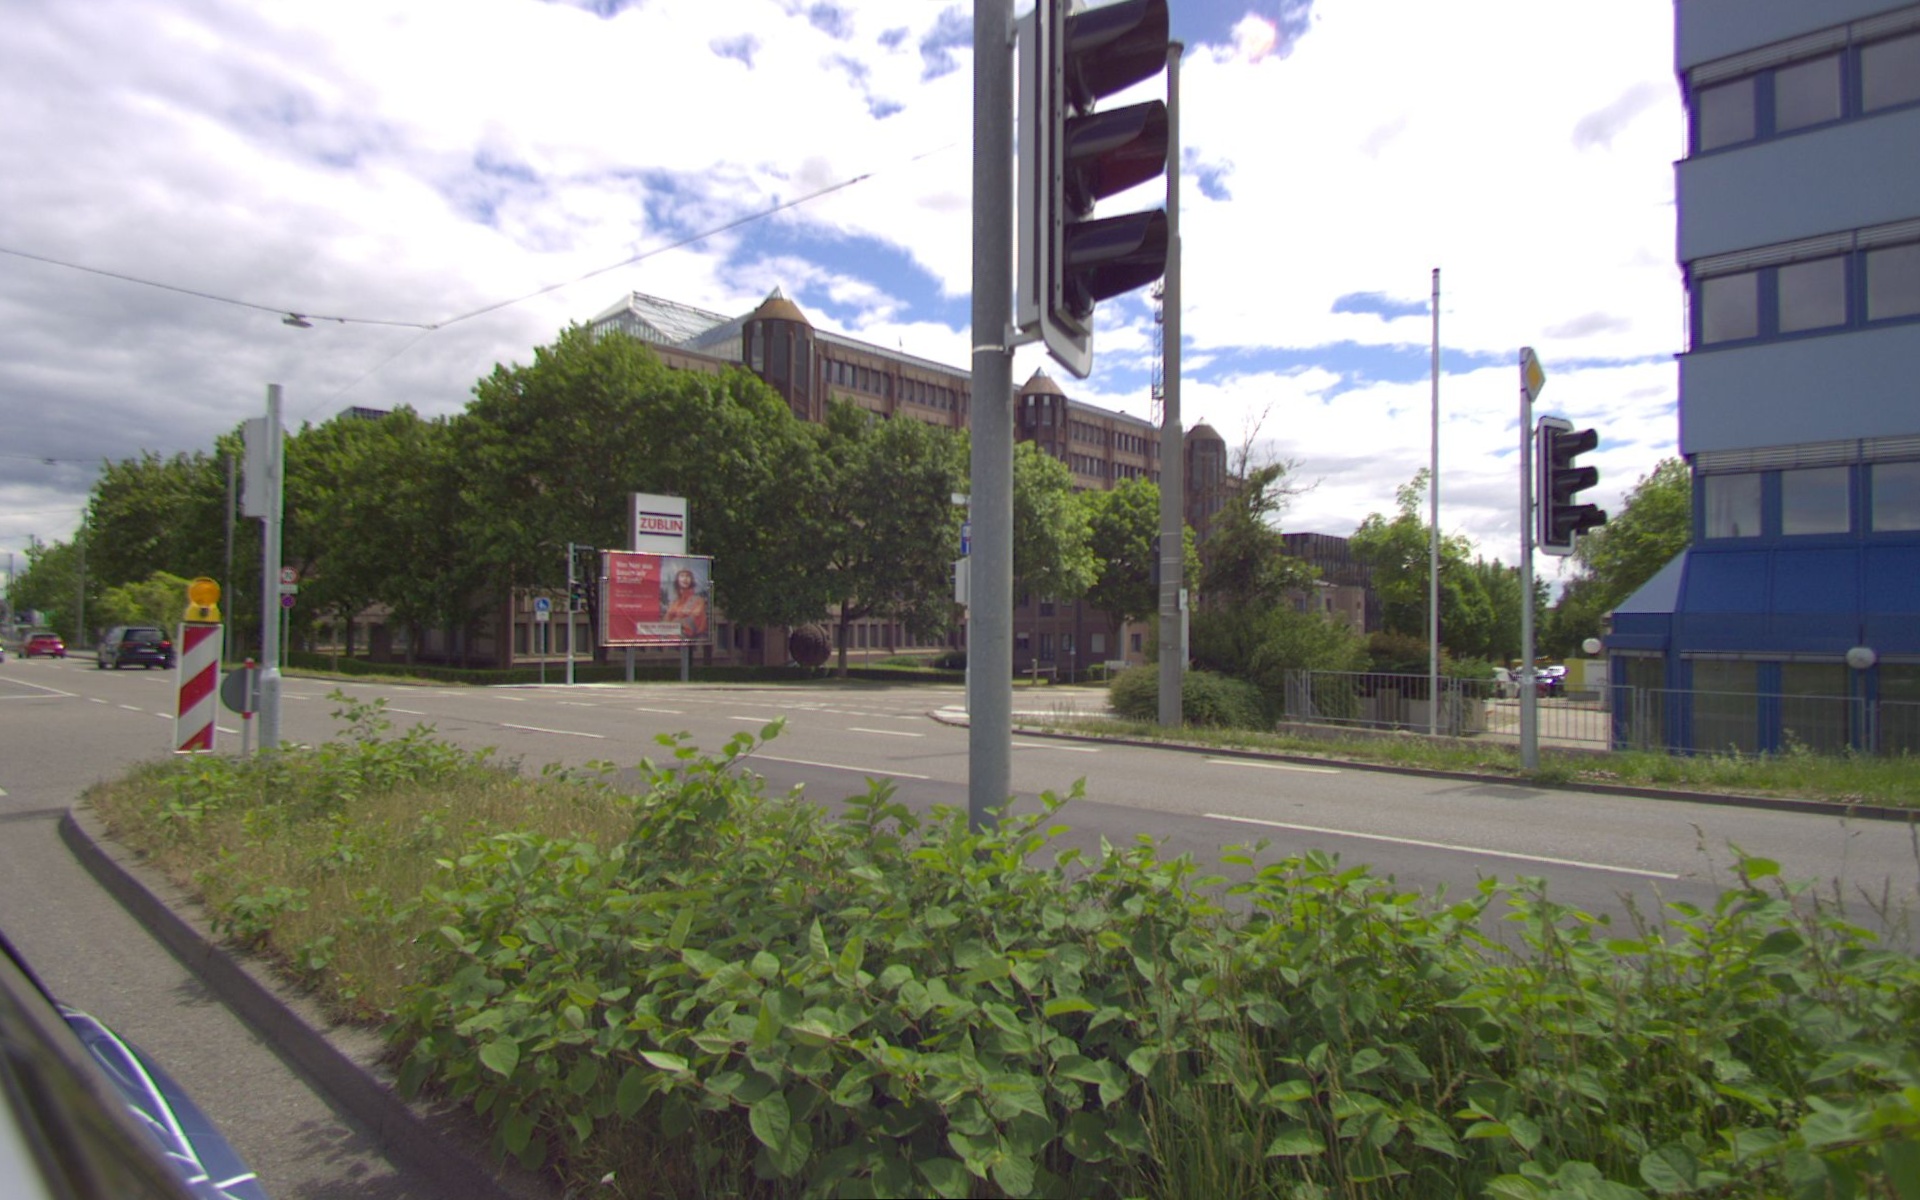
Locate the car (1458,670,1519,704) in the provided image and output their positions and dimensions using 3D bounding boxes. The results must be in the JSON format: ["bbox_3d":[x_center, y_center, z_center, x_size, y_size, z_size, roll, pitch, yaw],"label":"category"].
[{"bbox_3d":[28.356,4.694,54.293,2.000,1.706,3.602,-2,-6,43],"label":"car"}]

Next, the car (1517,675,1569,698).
[{"bbox_3d":[35.937,5.337,62.335,2.000,1.340,3.602,-2,-5,43],"label":"car"}]

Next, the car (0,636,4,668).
[{"bbox_3d":[-45.636,2.390,46.692,4.419,1.458,1.773,-2,-2,41],"label":"car"}]

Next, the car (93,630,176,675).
[{"bbox_3d":[-33.586,2.092,41.136,4.760,1.715,1.972,-2,-2,43],"label":"car"}]

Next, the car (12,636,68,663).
[{"bbox_3d":[-51.406,2.747,56.515,3.997,1.426,1.762,-1,-3,40],"label":"car"}]

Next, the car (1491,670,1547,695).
[{"bbox_3d":[32.310,4.774,58.459,2.000,1.340,3.602,-2,-5,43],"label":"car"}]
